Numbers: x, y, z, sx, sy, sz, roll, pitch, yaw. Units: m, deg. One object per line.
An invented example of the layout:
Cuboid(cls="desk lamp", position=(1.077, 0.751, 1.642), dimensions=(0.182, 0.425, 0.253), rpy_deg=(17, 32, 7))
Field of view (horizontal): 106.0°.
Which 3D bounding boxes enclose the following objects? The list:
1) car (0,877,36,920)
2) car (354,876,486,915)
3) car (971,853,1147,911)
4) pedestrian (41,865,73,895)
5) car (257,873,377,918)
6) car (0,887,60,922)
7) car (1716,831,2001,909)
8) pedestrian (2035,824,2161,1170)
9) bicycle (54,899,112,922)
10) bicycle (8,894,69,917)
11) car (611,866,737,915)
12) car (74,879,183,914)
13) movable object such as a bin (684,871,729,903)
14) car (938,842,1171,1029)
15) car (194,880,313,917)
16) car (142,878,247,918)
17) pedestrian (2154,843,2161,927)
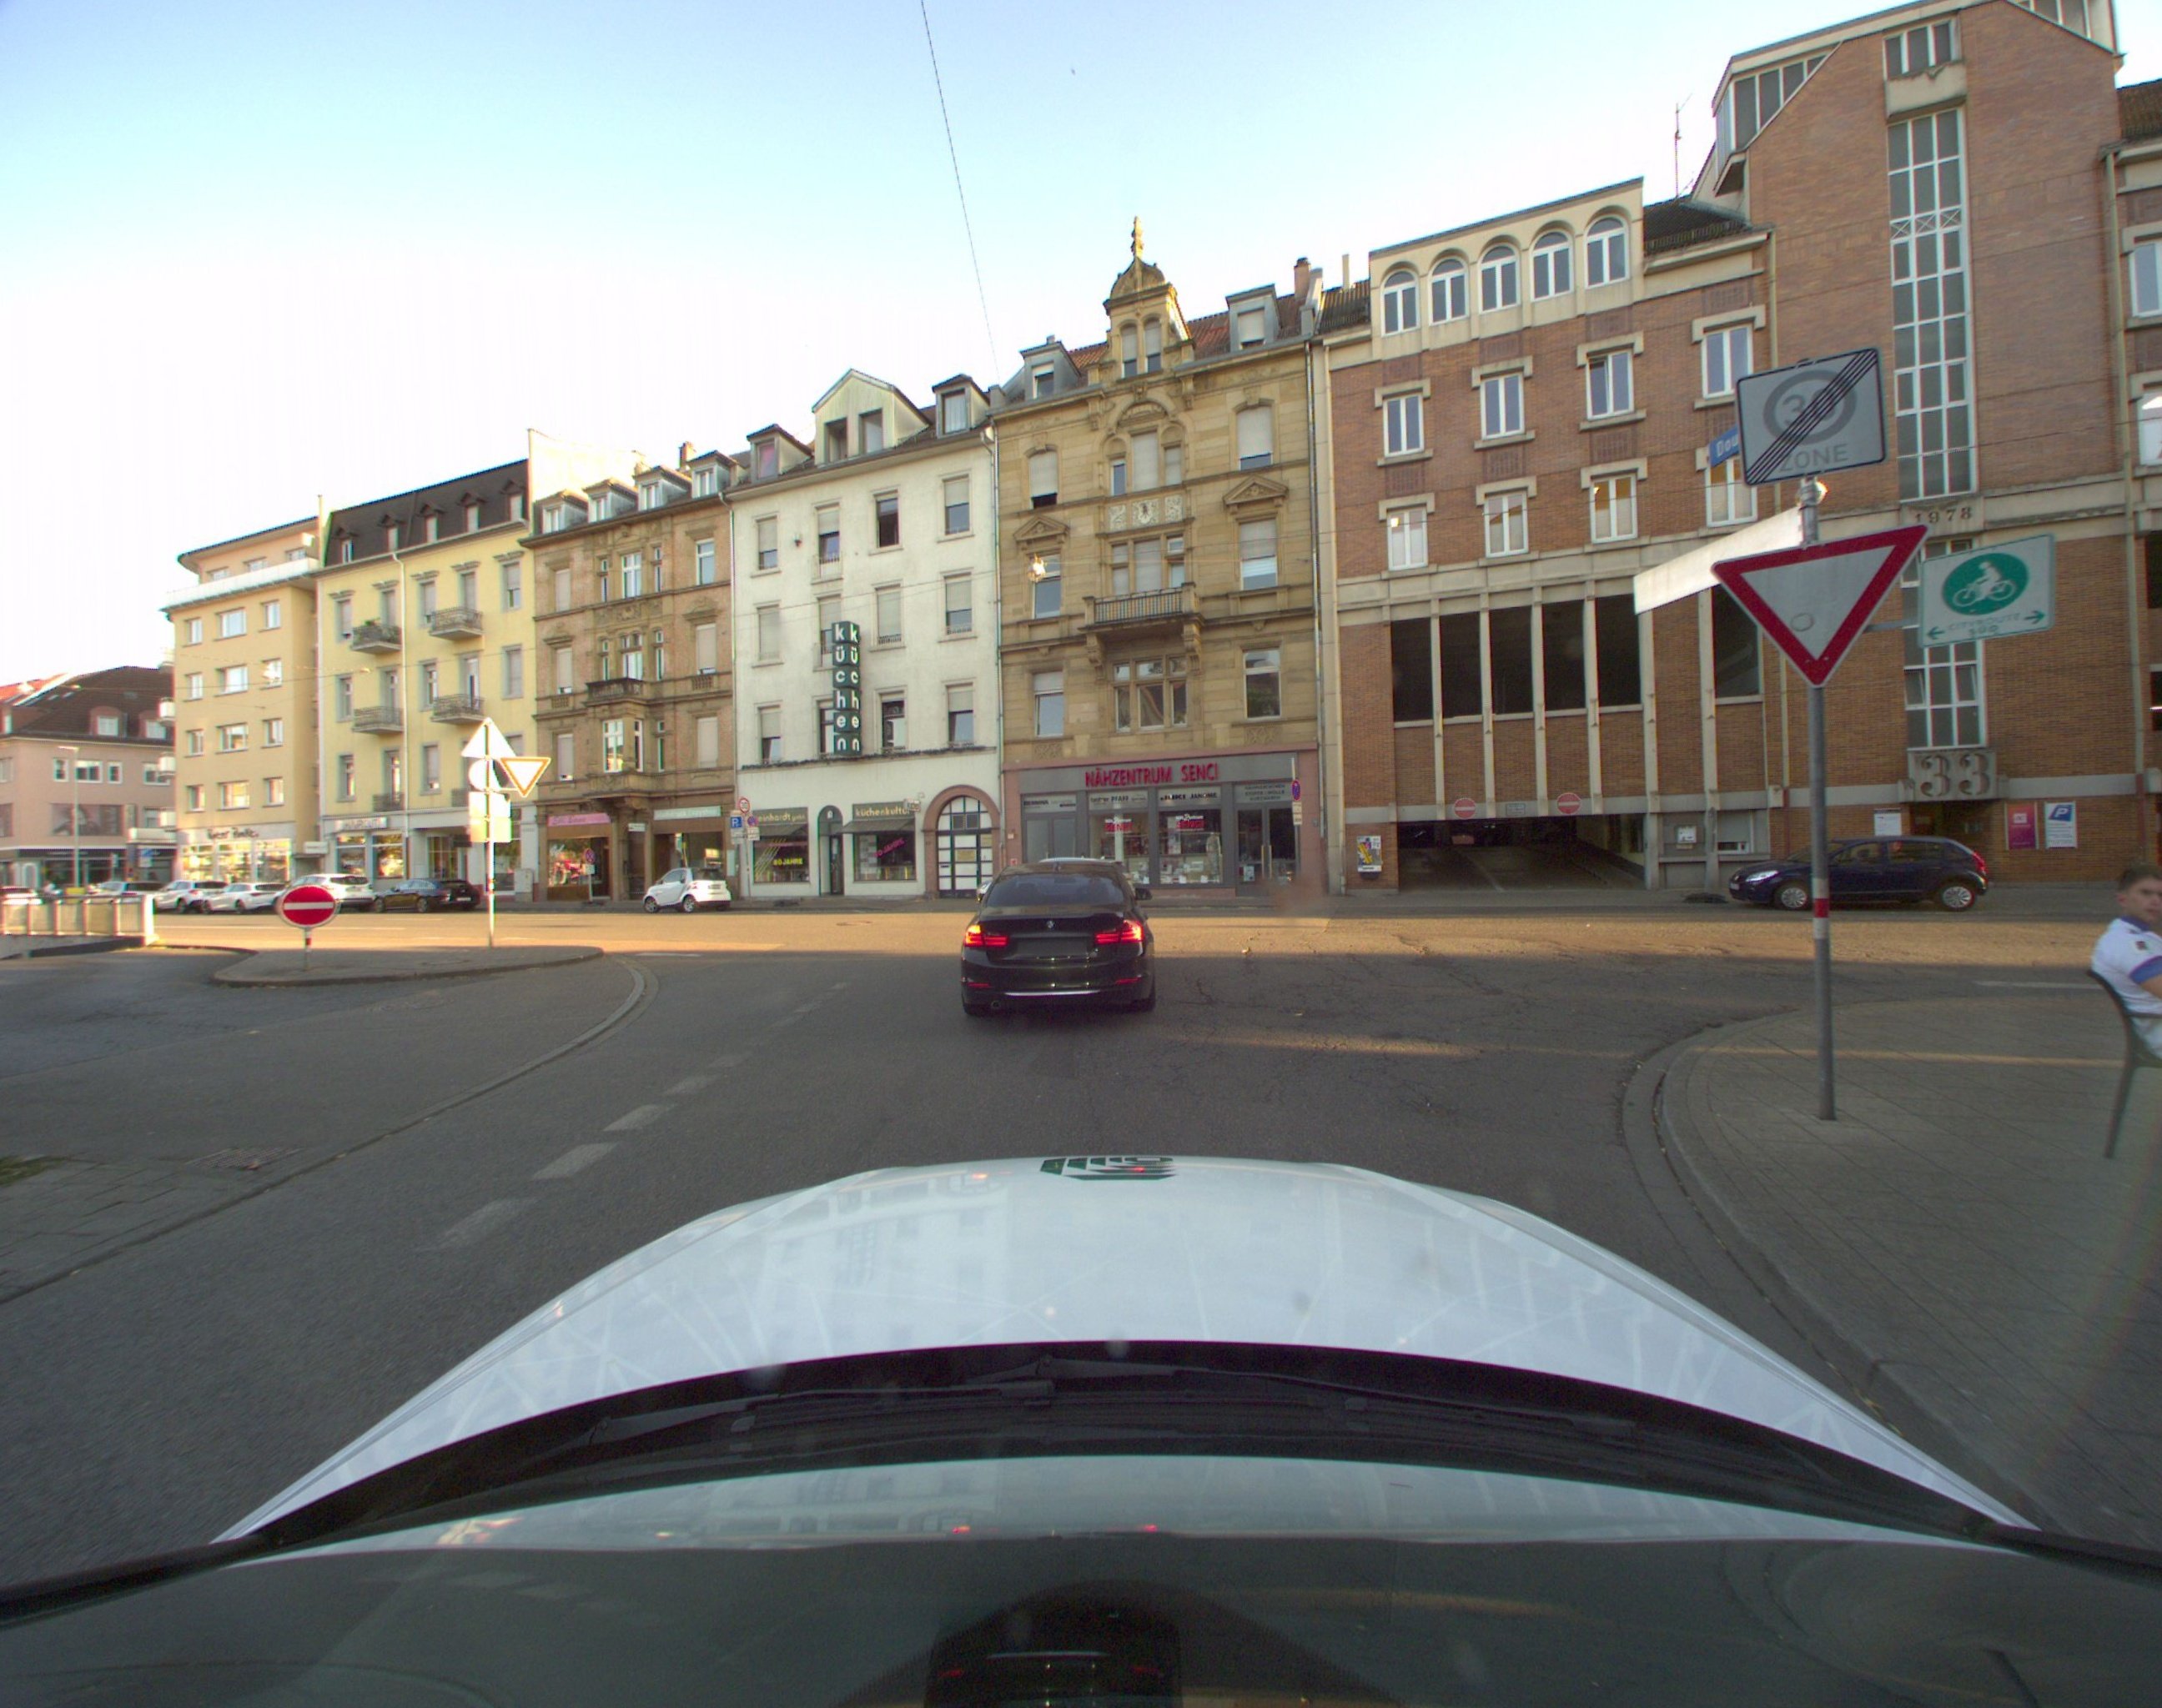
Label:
Cuboid(cls="car", position=(-46.625, 1.916, 34.363), dimensions=(3.953, 1.750, 2.010), rpy_deg=(-2, -1, 21))
Cuboid(cls="car", position=(-26.836, 1.680, 33.070), dimensions=(4.792, 1.434, 2.010), rpy_deg=(-2, -1, 21))
Cuboid(cls="car", position=(-0.619, 0.766, 23.413), dimensions=(4.628, 1.535, 2.010), rpy_deg=(0, 0, 19))
Cuboid(cls="pedestrian", position=(-59.844, 1.510, 47.599), dimensions=(0.755, 1.721, 0.870), rpy_deg=(-1, -1, -4))
Cuboid(cls="car", position=(-32.601, 1.723, 34.753), dimensions=(4.604, 1.745, 1.898), rpy_deg=(0, 0, 21))
Cuboid(cls="car", position=(-52.552, 2.450, 39.743), dimensions=(3.848, 1.604, 2.354), rpy_deg=(-2, -1, 21))
Cuboid(cls="car", position=(16.408, 0.331, 17.483), dimensions=(3.952, 1.520, 2.011), rpy_deg=(-1, 0, 21))
Cuboid(cls="pedestrian", position=(4.694, 0.558, 3.331), dimensions=(0.773, 1.382, 0.831), rpy_deg=(-2, -1, -29))
Cuboid(cls="bicycle", position=(-53.978, 3.030, 44.059), dimensions=(0.586, 1.112, 1.899), rpy_deg=(-1, 0, 18))
Cuboid(cls="bicycle", position=(-57.355, 2.824, 44.819), dimensions=(0.715, 1.167, 1.899), rpy_deg=(-2, 0, 18))
Cuboid(cls="car", position=(-14.269, 1.222, 28.533), dimensions=(3.952, 1.585, 1.714), rpy_deg=(0, 0, 21))
Cuboid(cls="car", position=(-48.404, 2.167, 41.408), dimensions=(4.748, 1.613, 2.010), rpy_deg=(-2, -1, 19))
Cuboid(cls="movable object such as a bin", position=(-14.714, 1.304, 32.013), dimensions=(1.382, 1.186, 0.873), rpy_deg=(-2, -1, 21))
Cuboid(cls="car", position=(-0.110, 0.711, 8.791), dimensions=(1.881, 1.492, 4.207), rpy_deg=(-1, -1, 3))
Cuboid(cls="car", position=(-37.589, 1.984, 37.005), dimensions=(4.811, 1.543, 2.033), rpy_deg=(0, 0, 21))
Cuboid(cls="car", position=(-42.649, 2.069, 39.195), dimensions=(4.356, 1.762, 1.883), rpy_deg=(0, 0, 20))
Cuboid(cls="pedestrian", position=(5.485, 0.561, 3.458), dimensions=(0.687, 1.282, 0.959), rpy_deg=(-1, -3, -28))
